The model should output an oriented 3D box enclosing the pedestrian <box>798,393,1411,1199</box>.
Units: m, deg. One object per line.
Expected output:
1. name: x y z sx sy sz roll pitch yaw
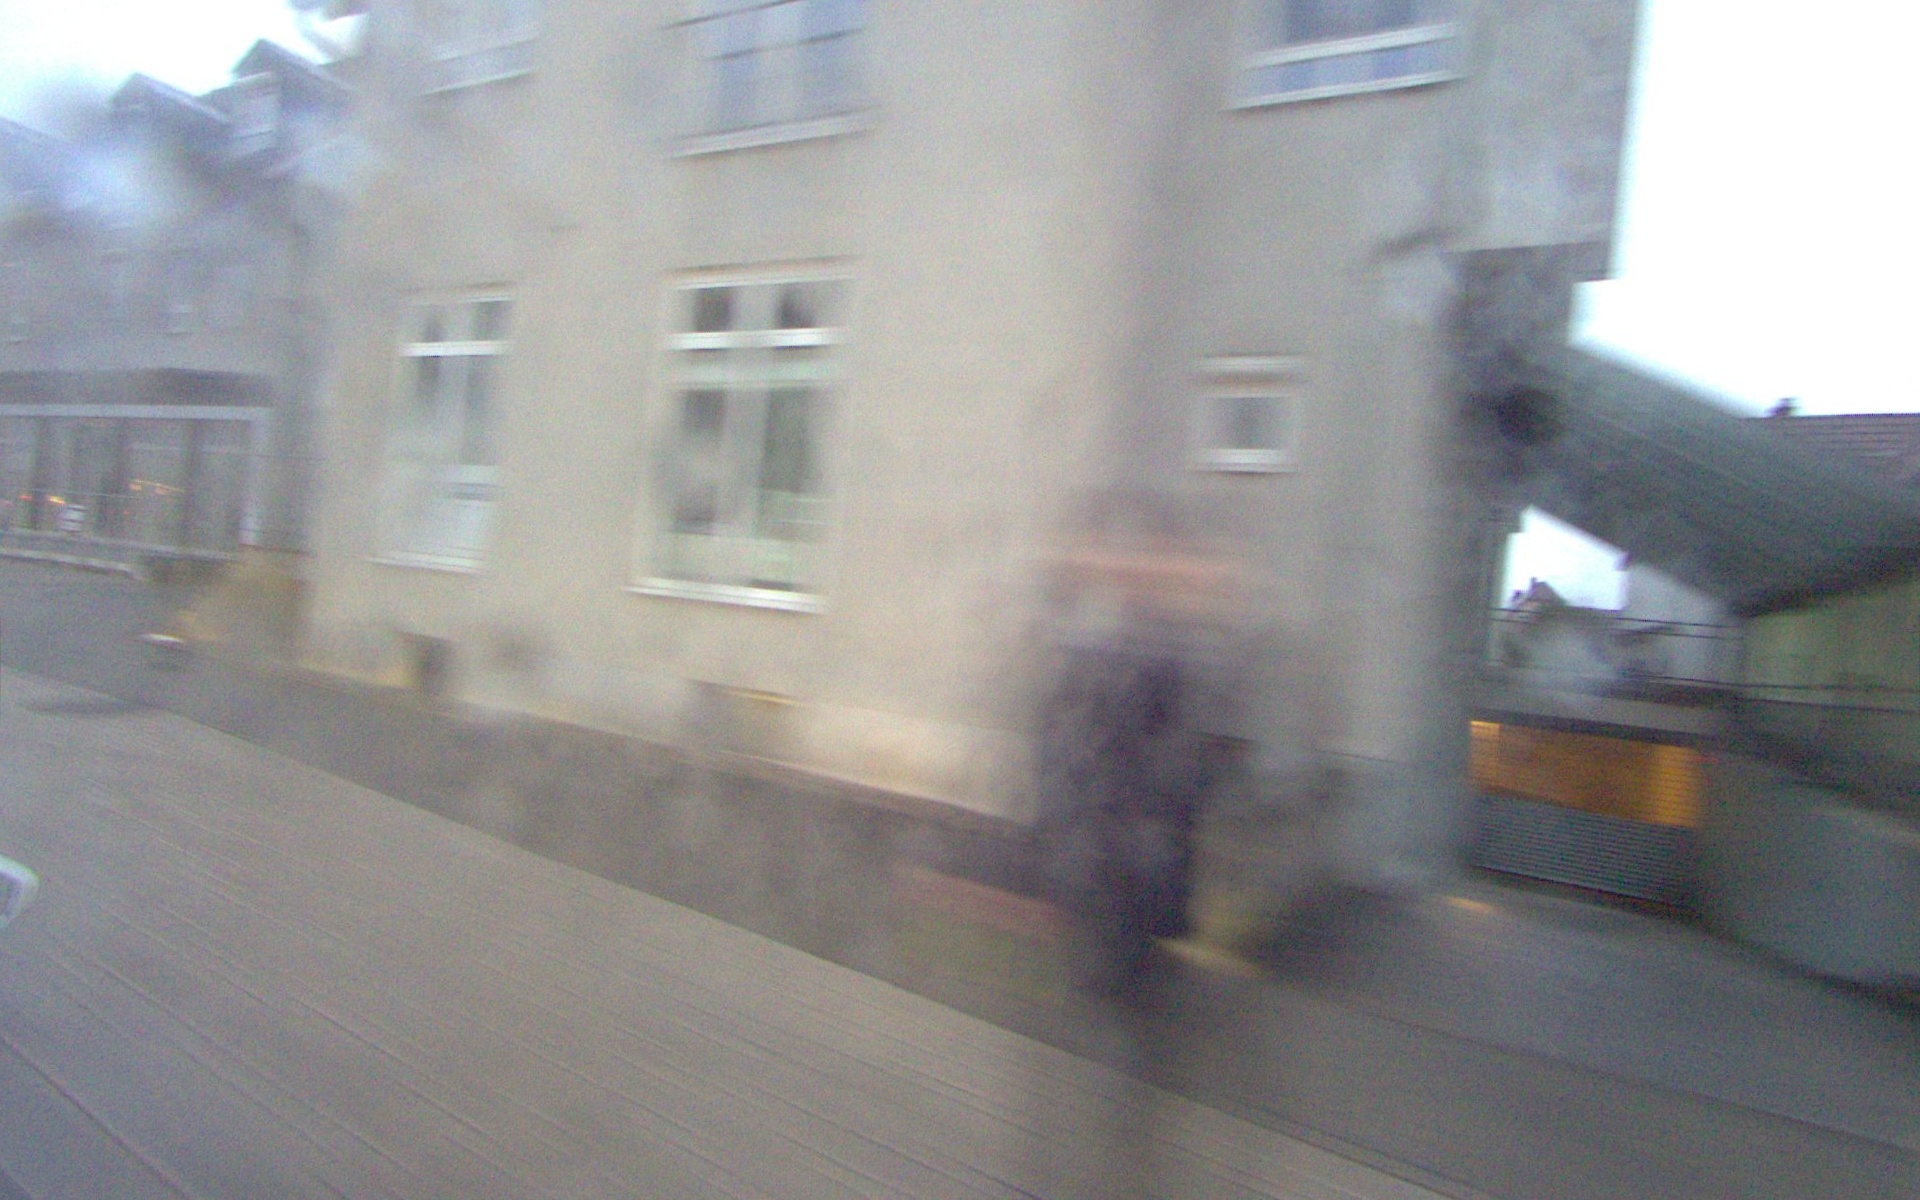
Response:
1. pedestrian: 0.320 0.522 2.153 0.858 1.751 0.745 8 2 34
